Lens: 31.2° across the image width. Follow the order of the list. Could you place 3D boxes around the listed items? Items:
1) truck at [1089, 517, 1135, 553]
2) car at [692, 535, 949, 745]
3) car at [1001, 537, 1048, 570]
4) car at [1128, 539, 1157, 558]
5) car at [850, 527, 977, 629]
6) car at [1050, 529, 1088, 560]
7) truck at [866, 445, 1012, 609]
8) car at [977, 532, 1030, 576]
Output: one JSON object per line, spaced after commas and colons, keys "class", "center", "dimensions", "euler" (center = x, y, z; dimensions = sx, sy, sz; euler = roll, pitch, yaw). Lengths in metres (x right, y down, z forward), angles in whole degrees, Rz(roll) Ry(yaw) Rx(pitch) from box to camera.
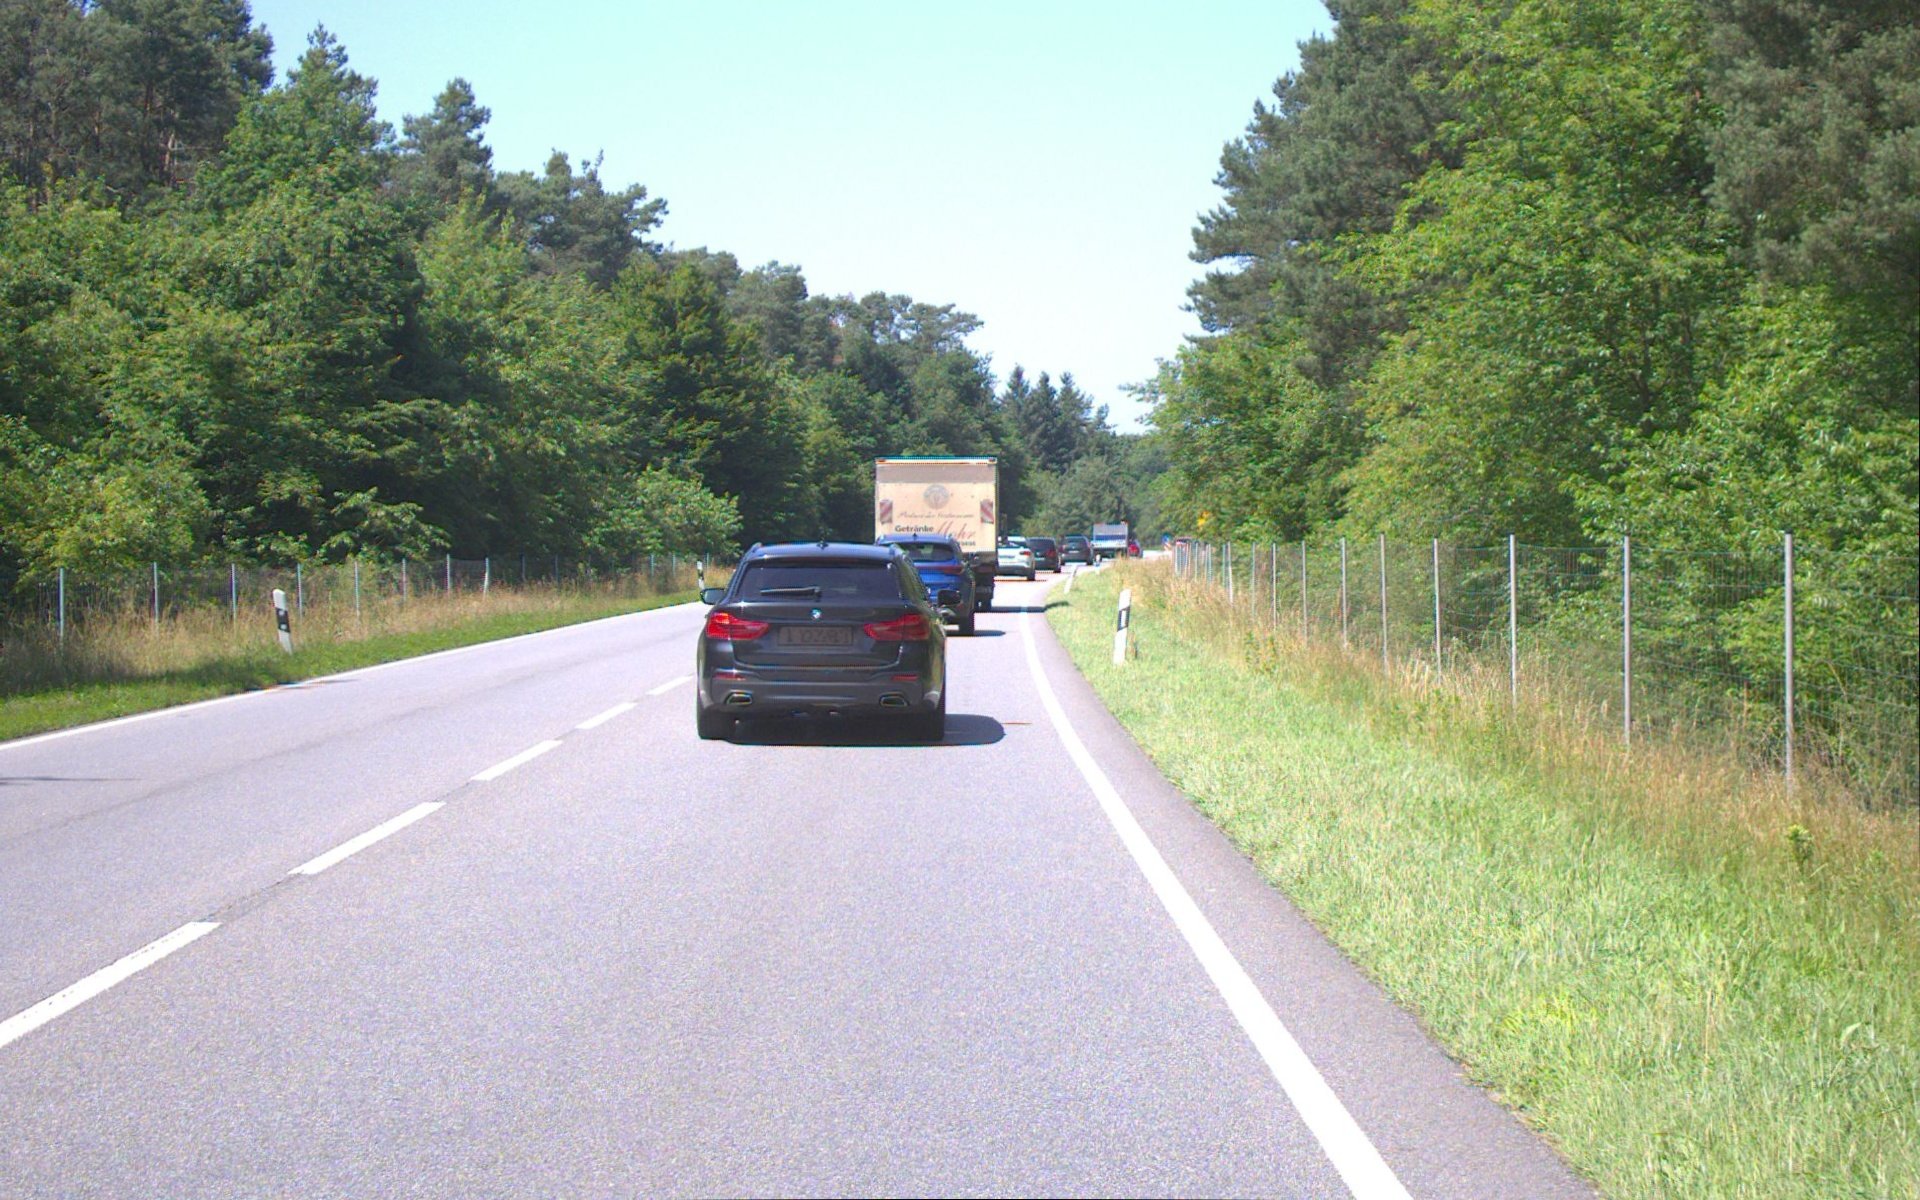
{"class": "truck", "center": [9.514, -4.076, 215.095], "dimensions": [2.564, 2.194, 4.973], "euler": [-1, 2, 6]}
{"class": "car", "center": [-1.085, 0.249, 26.750], "dimensions": [1.820, 1.465, 4.001], "euler": [1, 1, -2]}
{"class": "car", "center": [2.905, -2.131, 155.875], "dimensions": [1.993, 1.415, 4.000], "euler": [1, 1, 0]}
{"class": "car", "center": [13.121, -3.680, 246.692], "dimensions": [1.795, 1.349, 3.928], "euler": [0, 1, 7]}
{"class": "car", "center": [-0.737, -0.381, 55.344], "dimensions": [1.947, 1.536, 4.000], "euler": [-1, 1, 0]}
{"class": "car", "center": [6.076, -3.108, 191.381], "dimensions": [1.994, 1.631, 4.000], "euler": [-1, 1, 3]}
{"class": "truck", "center": [-0.526, -1.583, 74.425], "dimensions": [2.965, 3.376, 6.439], "euler": [0, 1, -2]}
{"class": "car", "center": [1.599, -1.722, 127.259], "dimensions": [1.863, 1.600, 4.000], "euler": [-1, 1, 0]}
